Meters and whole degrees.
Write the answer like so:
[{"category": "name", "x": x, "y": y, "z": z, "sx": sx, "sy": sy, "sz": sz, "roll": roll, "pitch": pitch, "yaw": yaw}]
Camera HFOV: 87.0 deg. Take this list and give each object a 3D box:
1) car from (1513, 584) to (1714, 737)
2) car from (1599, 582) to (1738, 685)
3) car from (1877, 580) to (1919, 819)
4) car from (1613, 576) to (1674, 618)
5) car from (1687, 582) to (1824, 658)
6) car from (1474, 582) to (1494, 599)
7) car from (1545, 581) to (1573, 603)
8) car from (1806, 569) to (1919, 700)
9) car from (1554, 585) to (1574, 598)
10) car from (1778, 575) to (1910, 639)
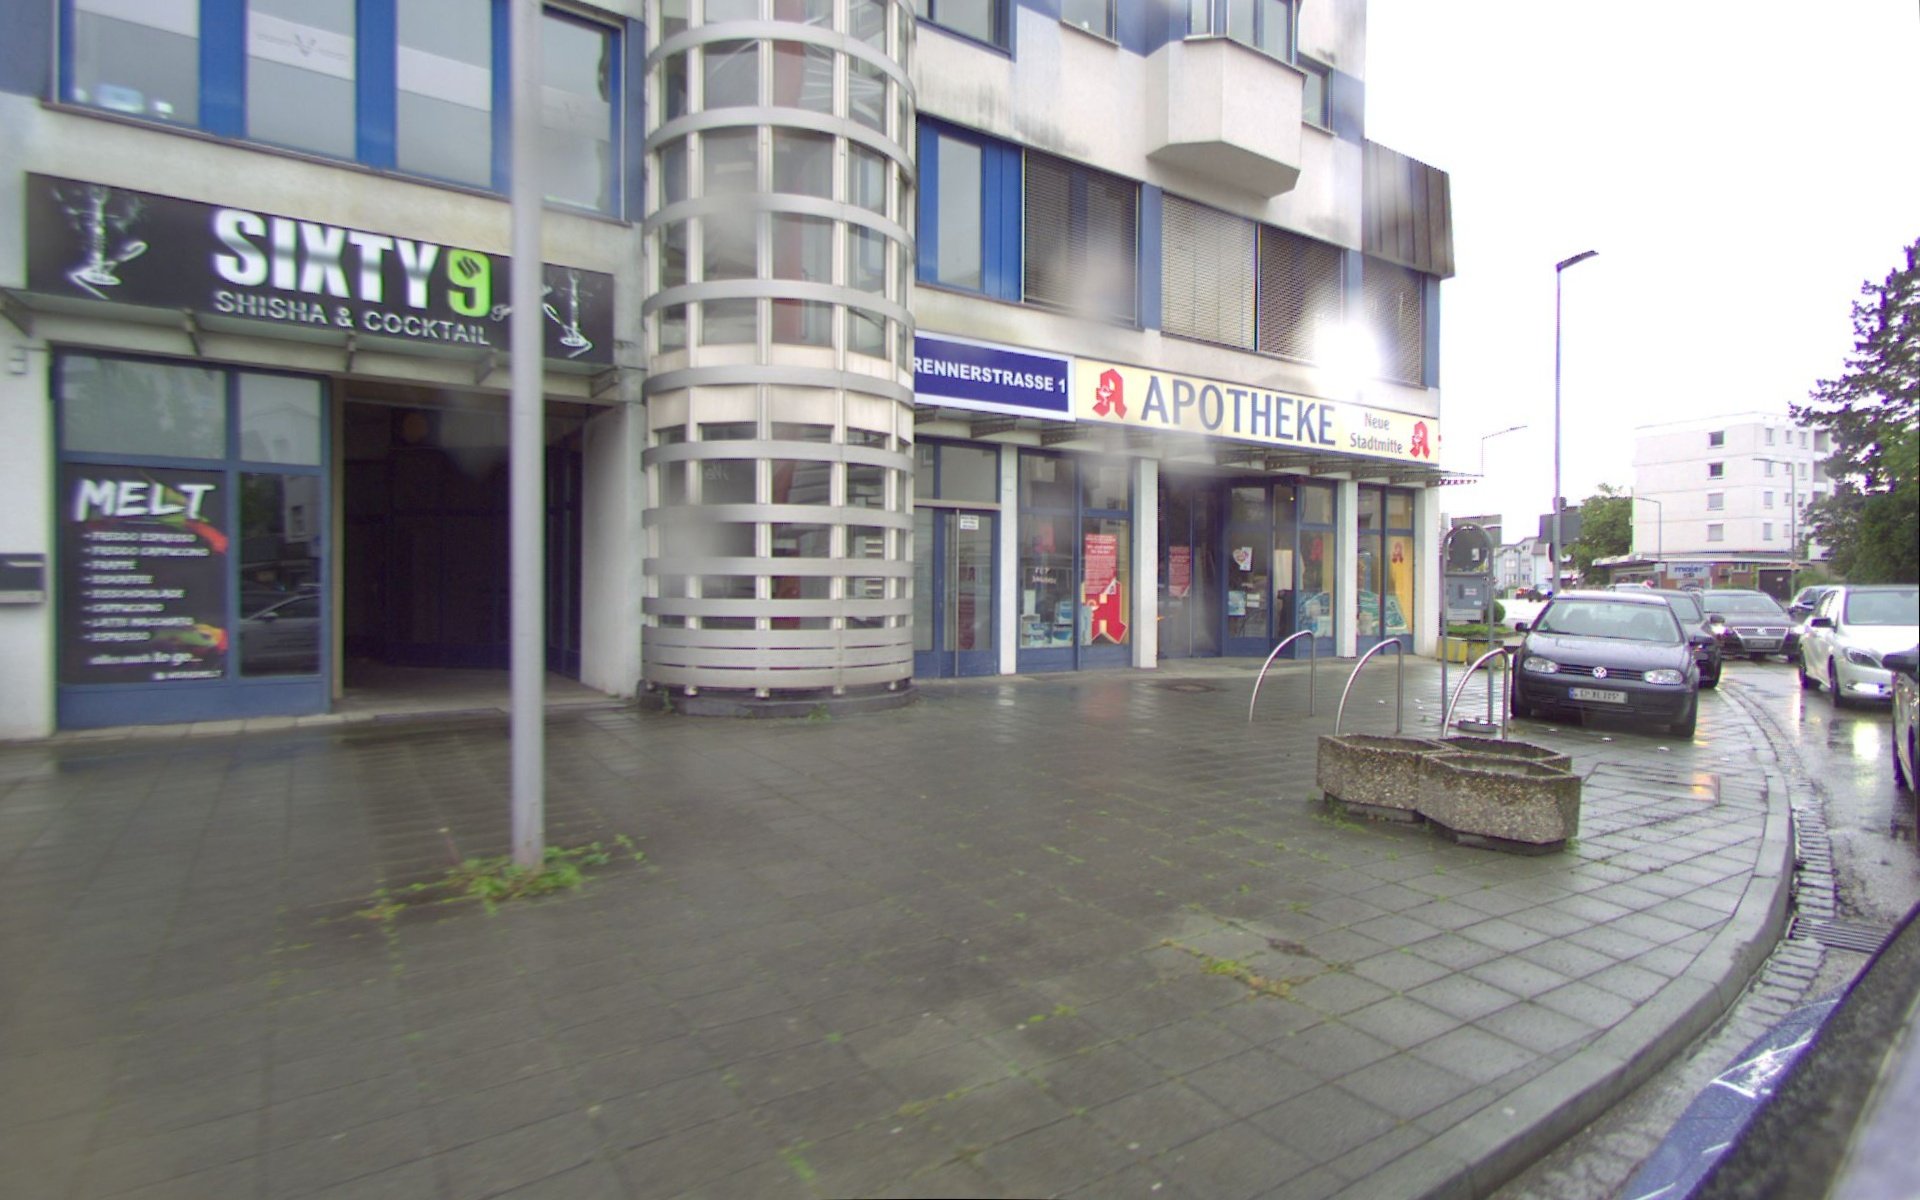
[{"category": "car", "x": 7.575, "y": 0.555, "z": 11.749, "sx": 1.645, "sy": 1.389, "sz": 3.686, "roll": 4, "pitch": 3, "yaw": 34}, {"category": "car", "x": 11.439, "y": 0.433, "z": 16.446, "sx": 1.648, "sy": 1.442, "sz": 3.951, "roll": 1, "pitch": 1, "yaw": 34}, {"category": "car", "x": 7.259, "y": 0.626, "z": 6.521, "sx": 1.726, "sy": 1.462, "sz": 3.991, "roll": 0, "pitch": 2, "yaw": 38}, {"category": "car", "x": 28.428, "y": -0.135, "z": 42.083, "sx": 1.987, "sy": 1.635, "sz": 3.950, "roll": -1, "pitch": 0, "yaw": 35}, {"category": "car", "x": 16.768, "y": 0.350, "z": 21.514, "sx": 1.787, "sy": 1.385, "sz": 3.931, "roll": 1, "pitch": 2, "yaw": 31}, {"category": "car", "x": 54.329, "y": -0.962, "z": 104.969, "sx": 1.727, "sy": 1.660, "sz": 3.965, "roll": 1, "pitch": 2, "yaw": 26}, {"category": "car", "x": 47.965, "y": -0.651, "z": 81.040, "sx": 1.729, "sy": 1.660, "sz": 3.961, "roll": 1, "pitch": 2, "yaw": 28}, {"category": "car", "x": 12.660, "y": 0.401, "z": 13.503, "sx": 1.723, "sy": 1.547, "sz": 4.012, "roll": 1, "pitch": 1, "yaw": 35}, {"category": "car", "x": 73.927, "y": -1.080, "z": 123.946, "sx": 1.854, "sy": 1.454, "sz": 3.707, "roll": 1, "pitch": 2, "yaw": 27}, {"category": "car", "x": 22.651, "y": 0.125, "z": 26.091, "sx": 1.736, "sy": 1.472, "sz": 3.777, "roll": 1, "pitch": 2, "yaw": 28}]
